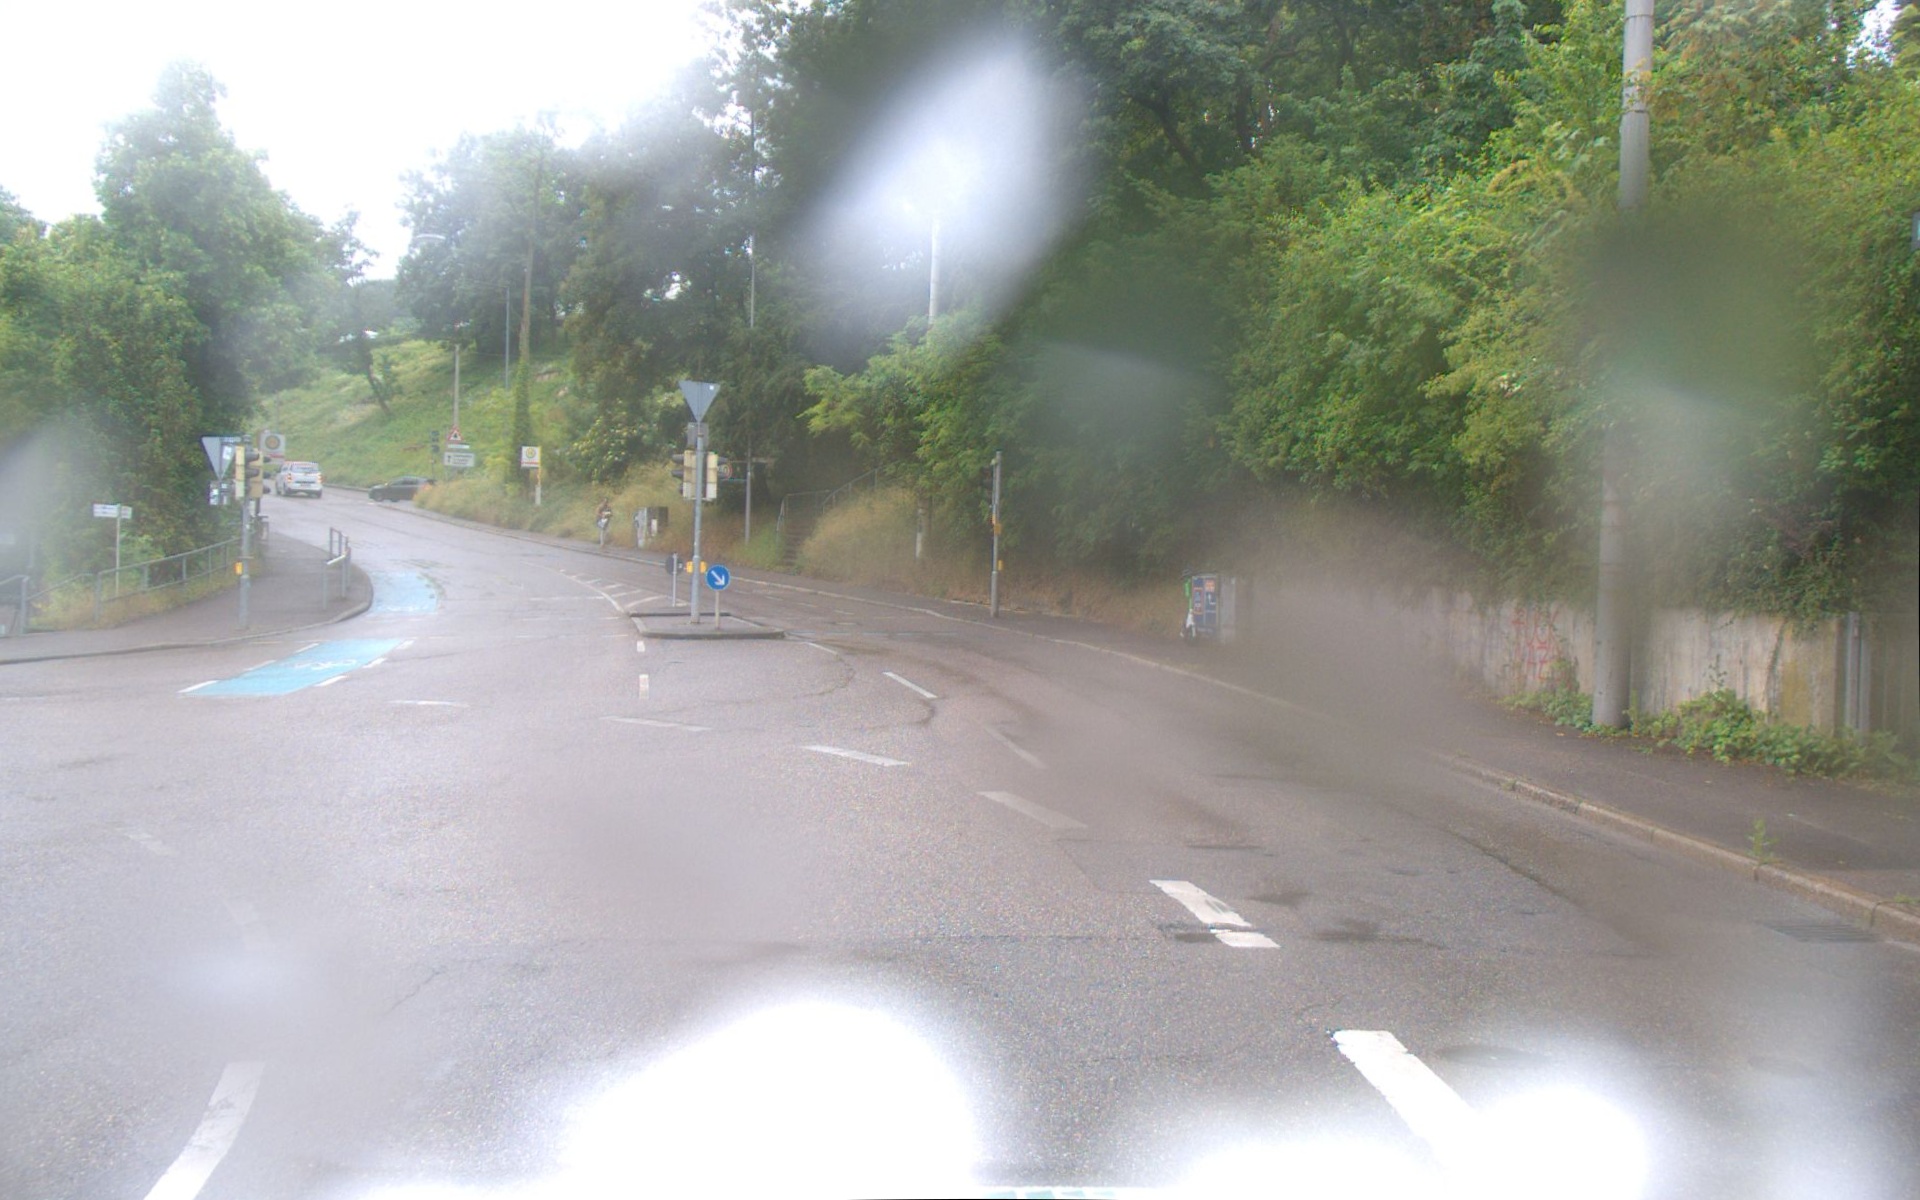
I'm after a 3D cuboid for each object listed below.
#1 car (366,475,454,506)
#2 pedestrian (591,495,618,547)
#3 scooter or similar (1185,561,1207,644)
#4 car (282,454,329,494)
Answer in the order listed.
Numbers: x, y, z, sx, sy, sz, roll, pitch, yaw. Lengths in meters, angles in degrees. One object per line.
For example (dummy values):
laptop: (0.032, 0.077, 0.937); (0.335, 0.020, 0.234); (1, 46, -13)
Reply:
car: (-31.025, -6.162, 93.342); (4.297, 1.538, 1.965); (3, 3, 13)
pedestrian: (-12.574, -2.779, 58.468); (0.867, 1.767, 0.861); (1, -1, -18)
scooter or similar: (3.784, 0.031, 26.529); (0.315, 1.302, 0.752); (0, 3, 7)
car: (-37.796, -7.261, 95.498); (2.042, 2.041, 4.772); (0, 1, -27)
